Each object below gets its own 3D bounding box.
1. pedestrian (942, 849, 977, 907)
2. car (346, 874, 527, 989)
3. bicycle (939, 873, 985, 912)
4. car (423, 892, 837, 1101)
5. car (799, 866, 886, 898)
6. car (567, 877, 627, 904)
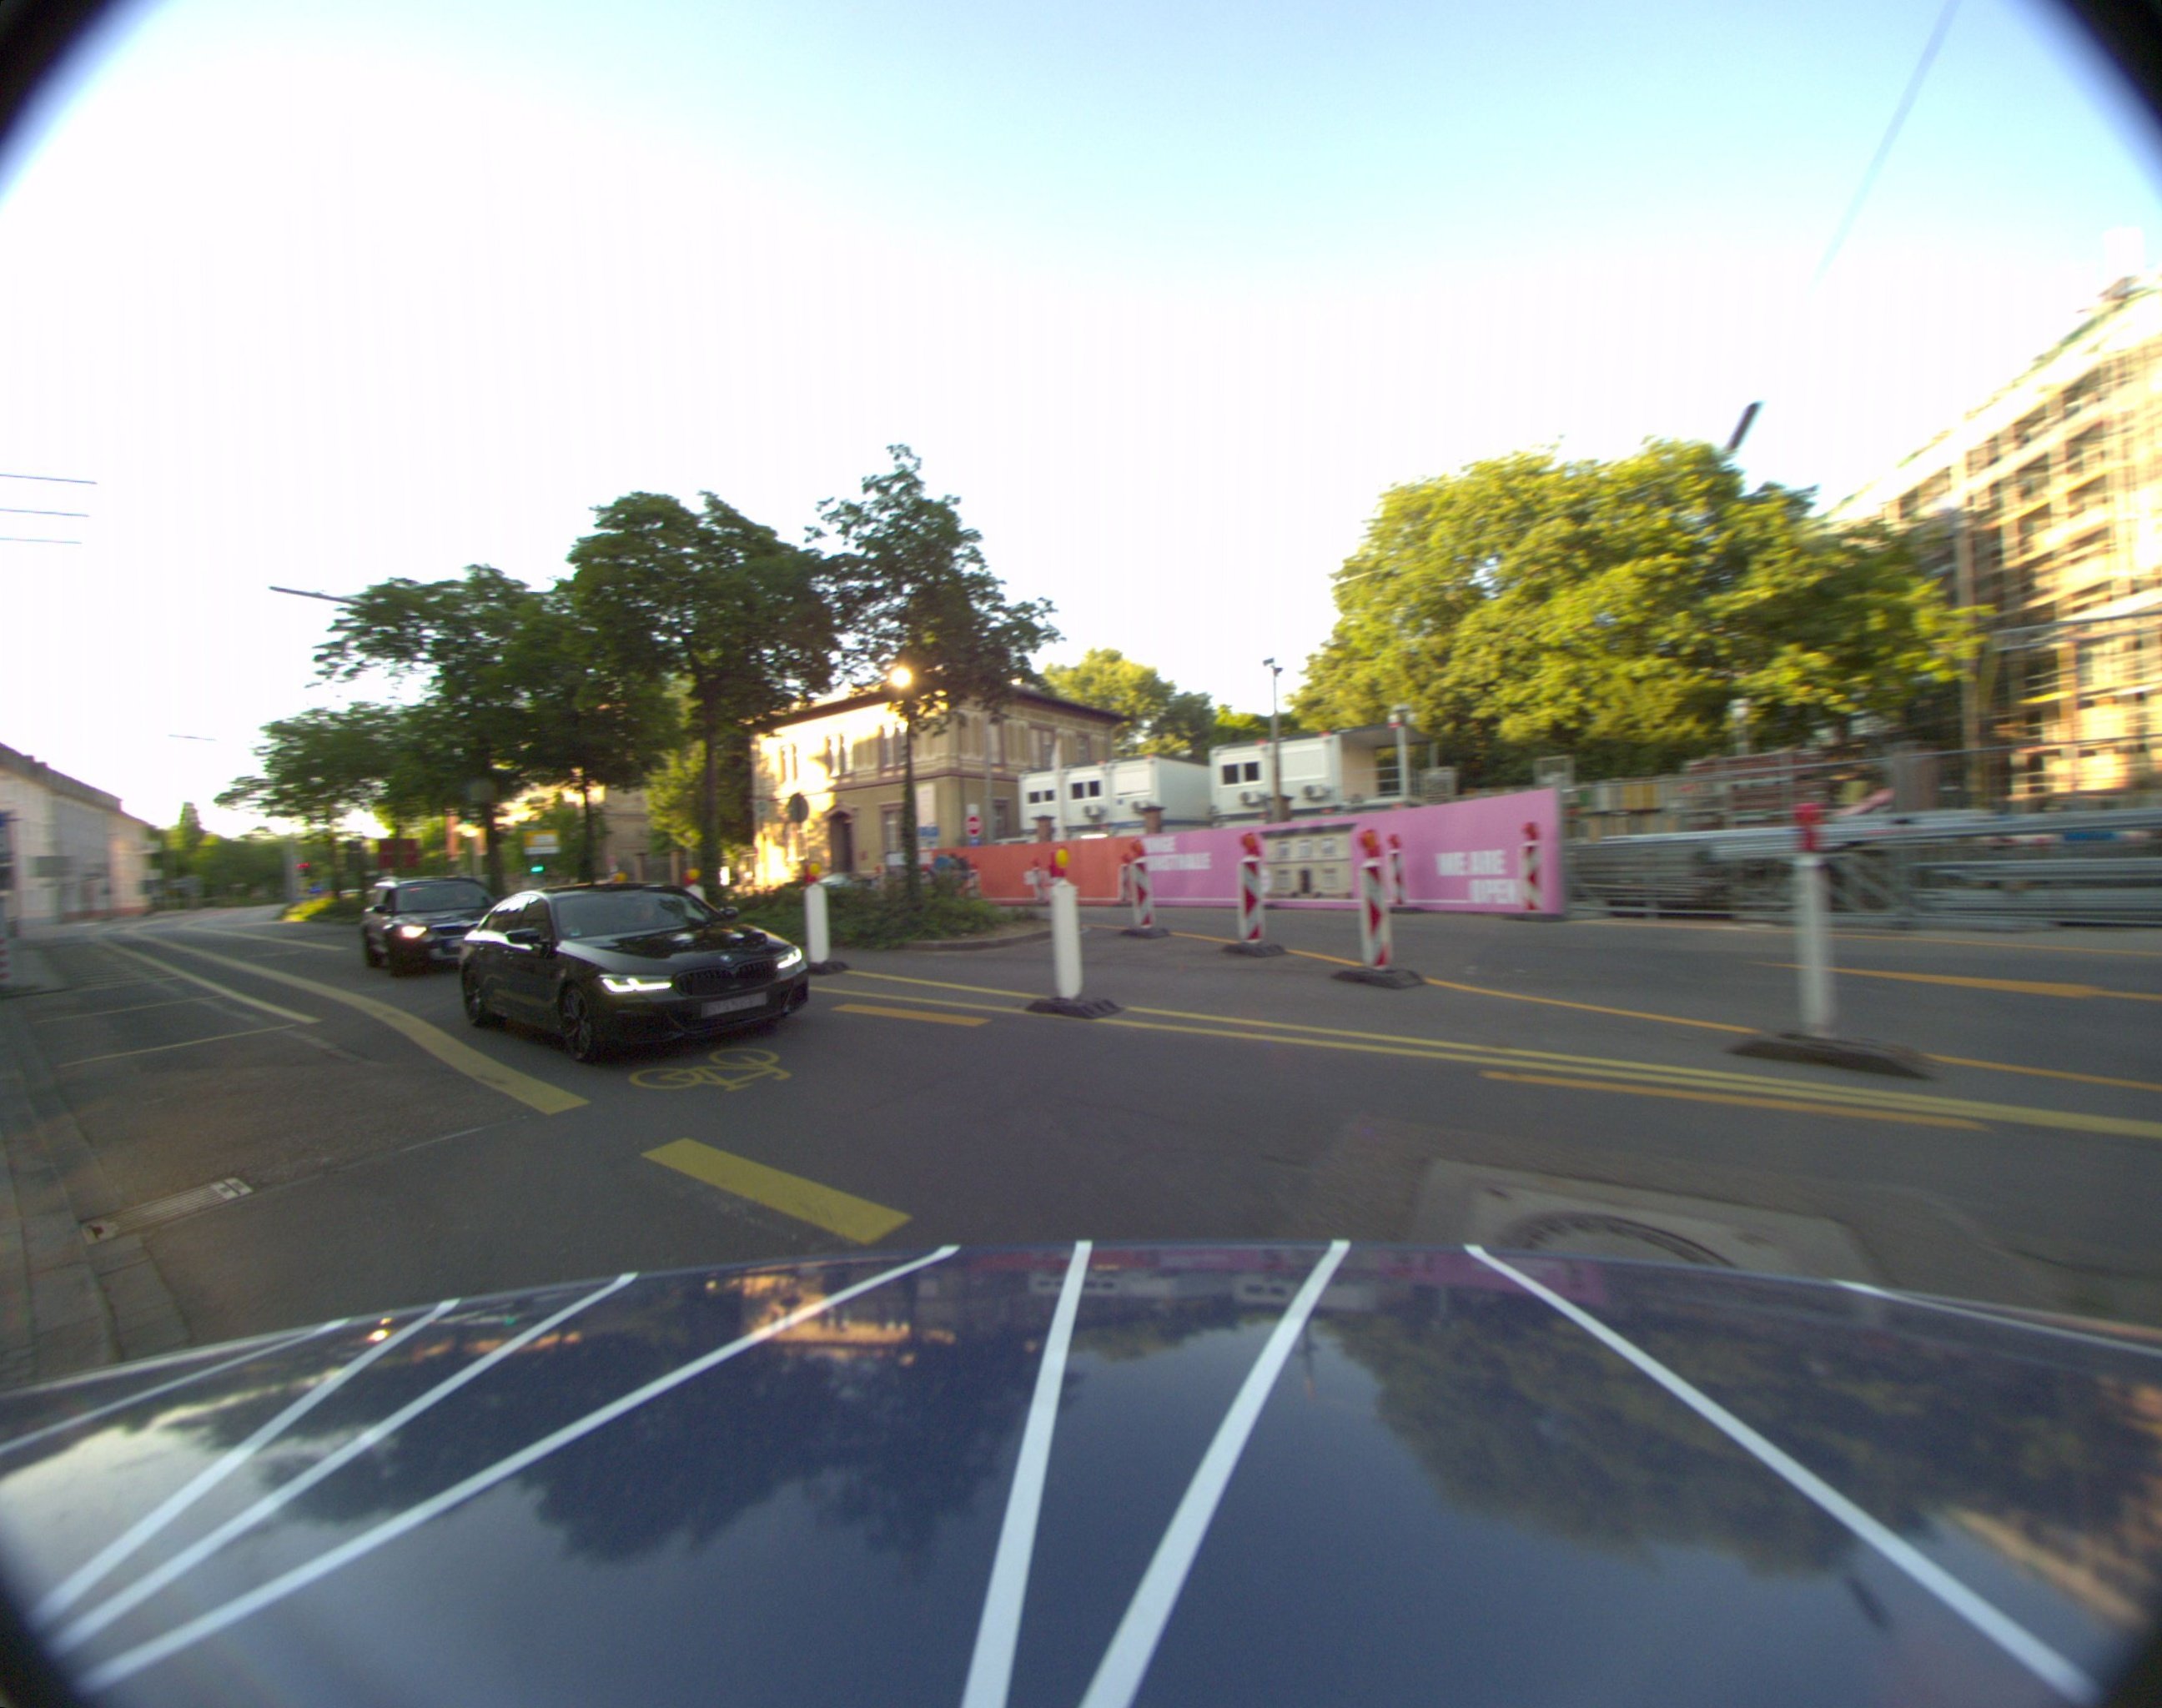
[{"bbox_3d":[-3.607,0.699,22.477,0.738,1.664,0.893,-3,1,-24],"label":"pedestrian"},{"bbox_3d":[-11.968,1.306,14.014,4.212,1.674,1.843,-2,2,41],"label":"car"},{"bbox_3d":[-3.536,1.098,22.392,0.764,1.031,2.116,-3,0,-25],"label":"bicycle"},{"bbox_3d":[-4.800,1.159,7.781,4.768,1.378,1.969,-2,1,38],"label":"car"},{"bbox_3d":[-10.912,1.287,34.639,3.876,1.343,1.688,-3,-1,34],"label":"car"},{"bbox_3d":[-31.322,2.348,49.151,4.358,1.538,1.753,-3,1,37],"label":"car"}]
